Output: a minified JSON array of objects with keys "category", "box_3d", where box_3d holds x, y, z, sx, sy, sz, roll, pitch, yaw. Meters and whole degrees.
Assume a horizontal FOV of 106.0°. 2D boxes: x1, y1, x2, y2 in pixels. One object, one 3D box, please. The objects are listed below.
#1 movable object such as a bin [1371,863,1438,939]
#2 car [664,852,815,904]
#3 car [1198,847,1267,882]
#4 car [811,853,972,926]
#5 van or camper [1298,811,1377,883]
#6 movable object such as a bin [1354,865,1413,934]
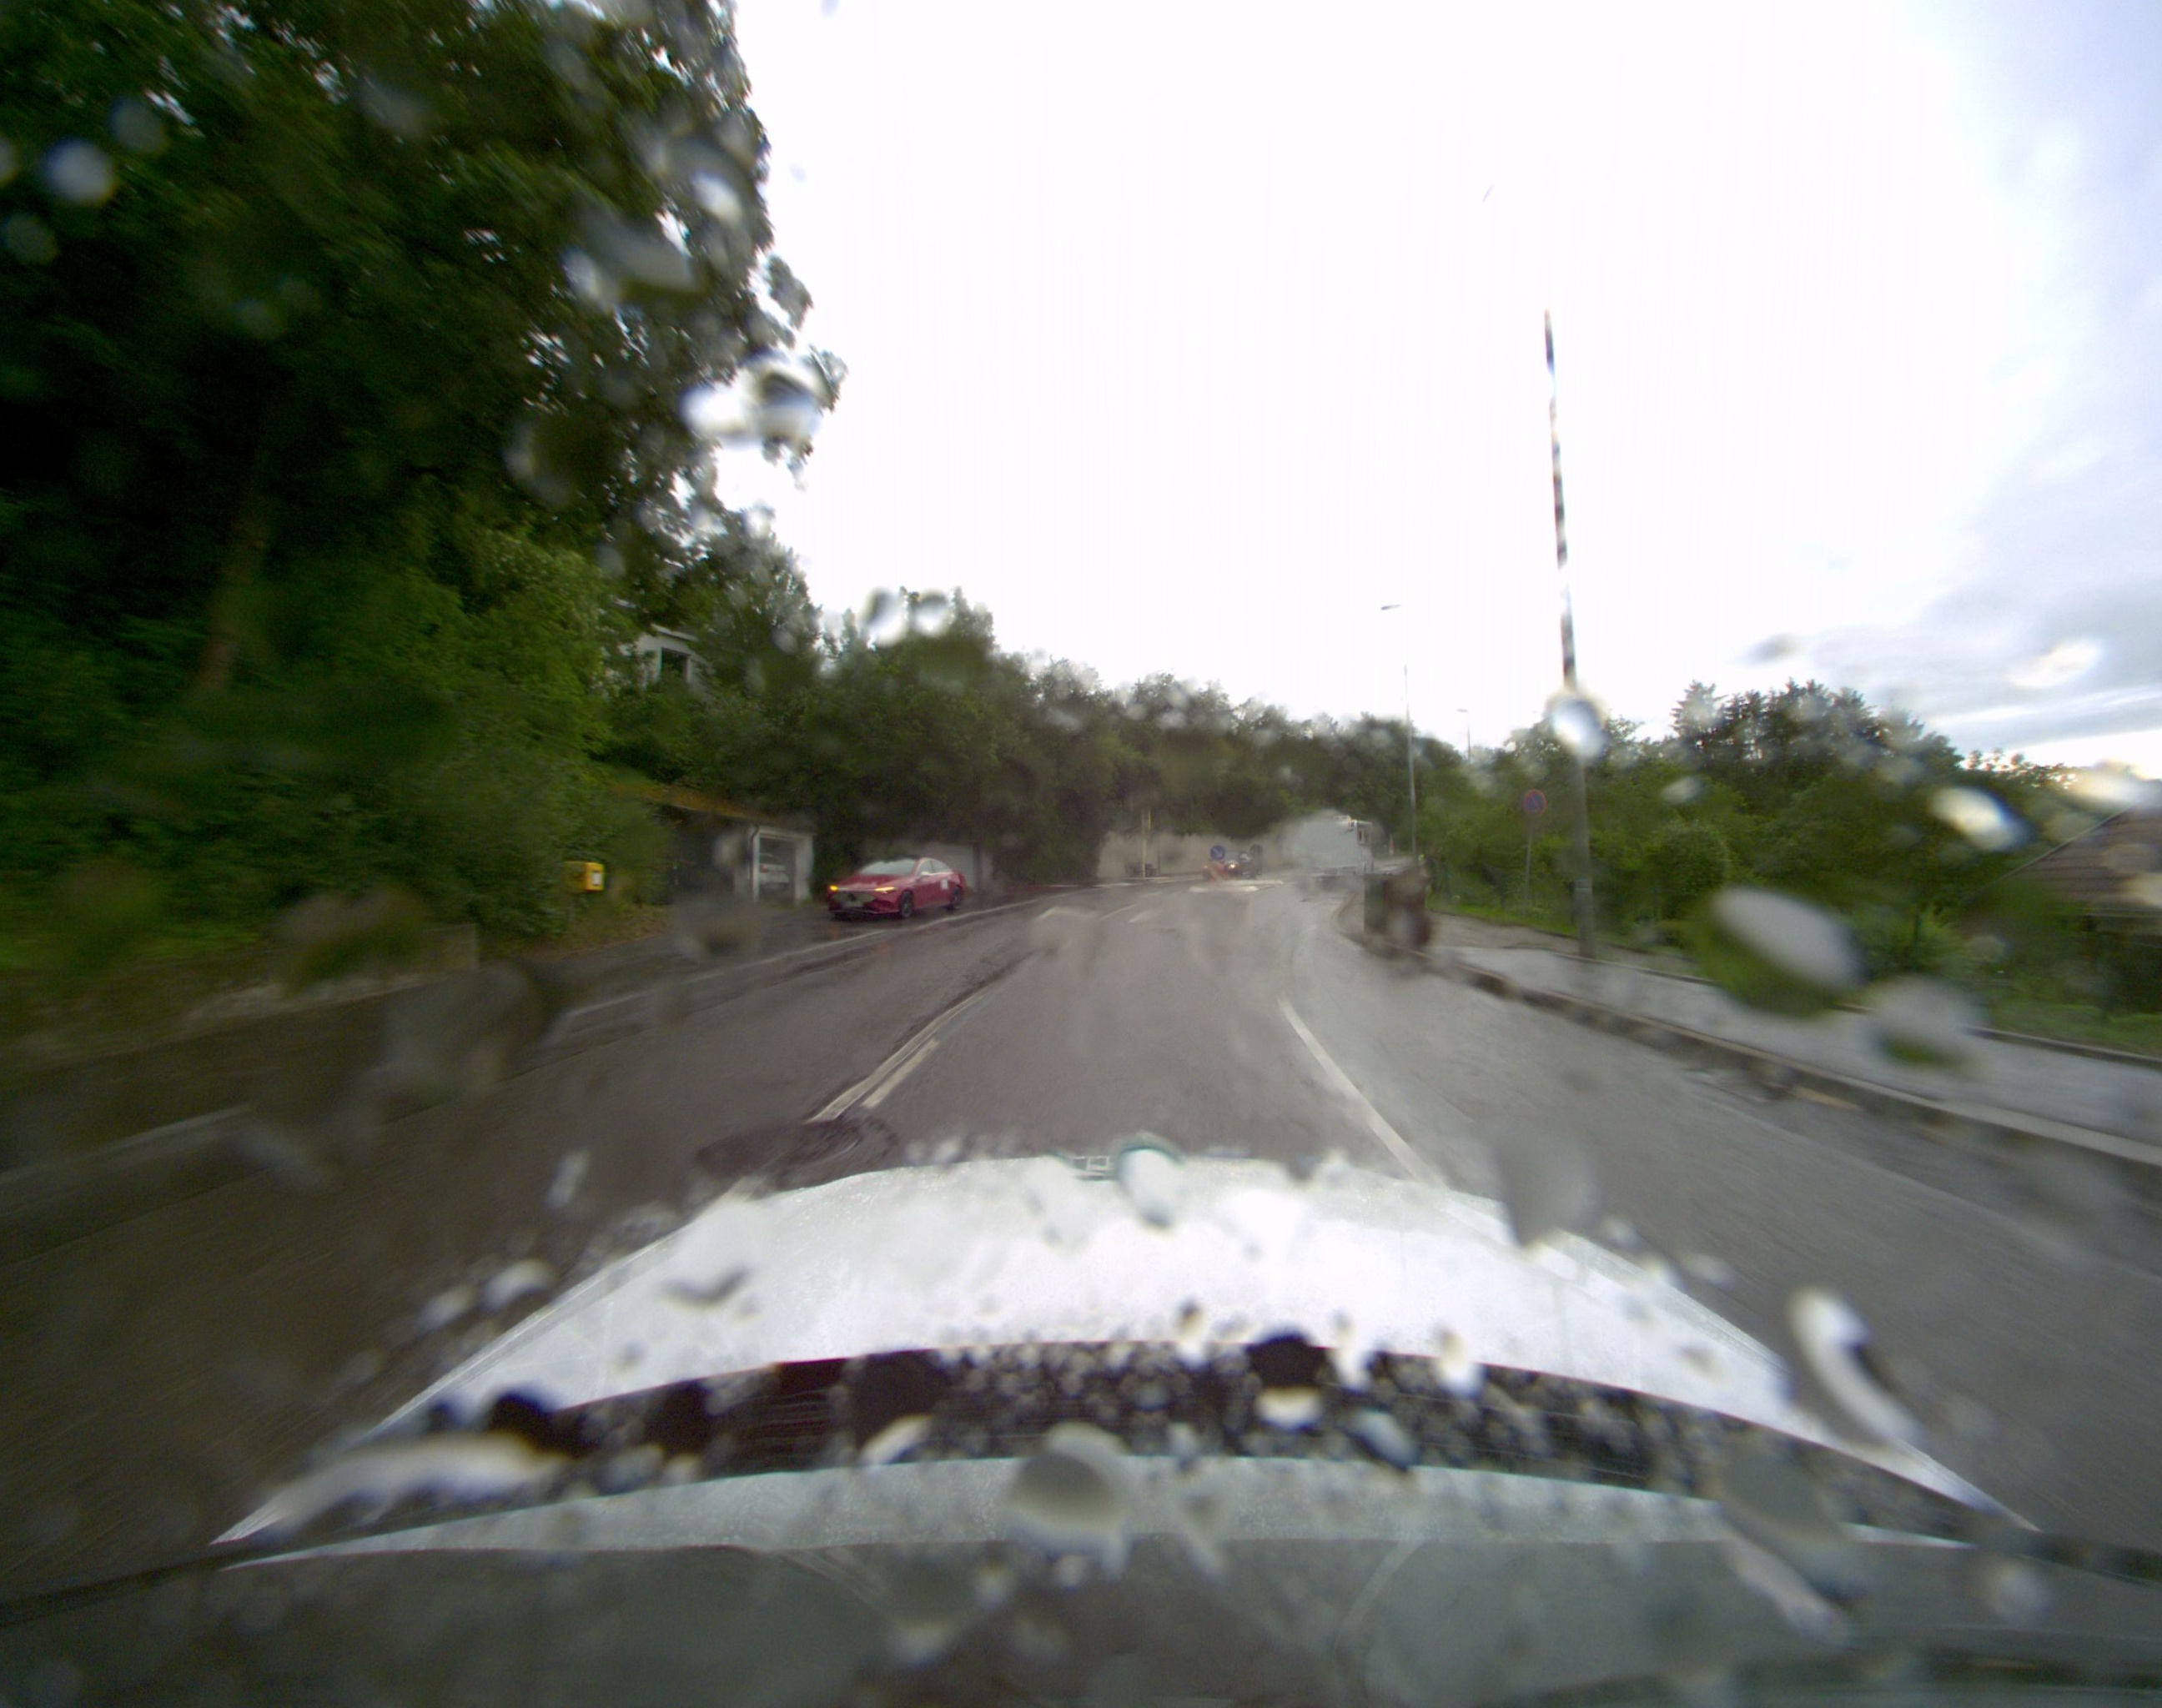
[{"category":"movable object such as a bin","box_3d":[5.016,0.710,12.666,0.774,1.133,0.739,-1,0,4]},{"category":"car","box_3d":[-10.691,0.742,25.590,3.959,1.503,1.886,-1,0,13]},{"category":"car","box_3d":[7.651,0.508,40.886,1.709,1.415,4.026,-5,-1,36]},{"category":"car","box_3d":[-4.527,0.779,20.331,1.979,1.561,4.671,0,1,14]},{"category":"van or camper","box_3d":[11.611,-0.369,36.582,2.517,2.924,5.983,0,2,26]},{"category":"movable object such as a bin","box_3d":[5.174,0.759,13.967,0.774,1.133,0.739,-1,0,4]}]
